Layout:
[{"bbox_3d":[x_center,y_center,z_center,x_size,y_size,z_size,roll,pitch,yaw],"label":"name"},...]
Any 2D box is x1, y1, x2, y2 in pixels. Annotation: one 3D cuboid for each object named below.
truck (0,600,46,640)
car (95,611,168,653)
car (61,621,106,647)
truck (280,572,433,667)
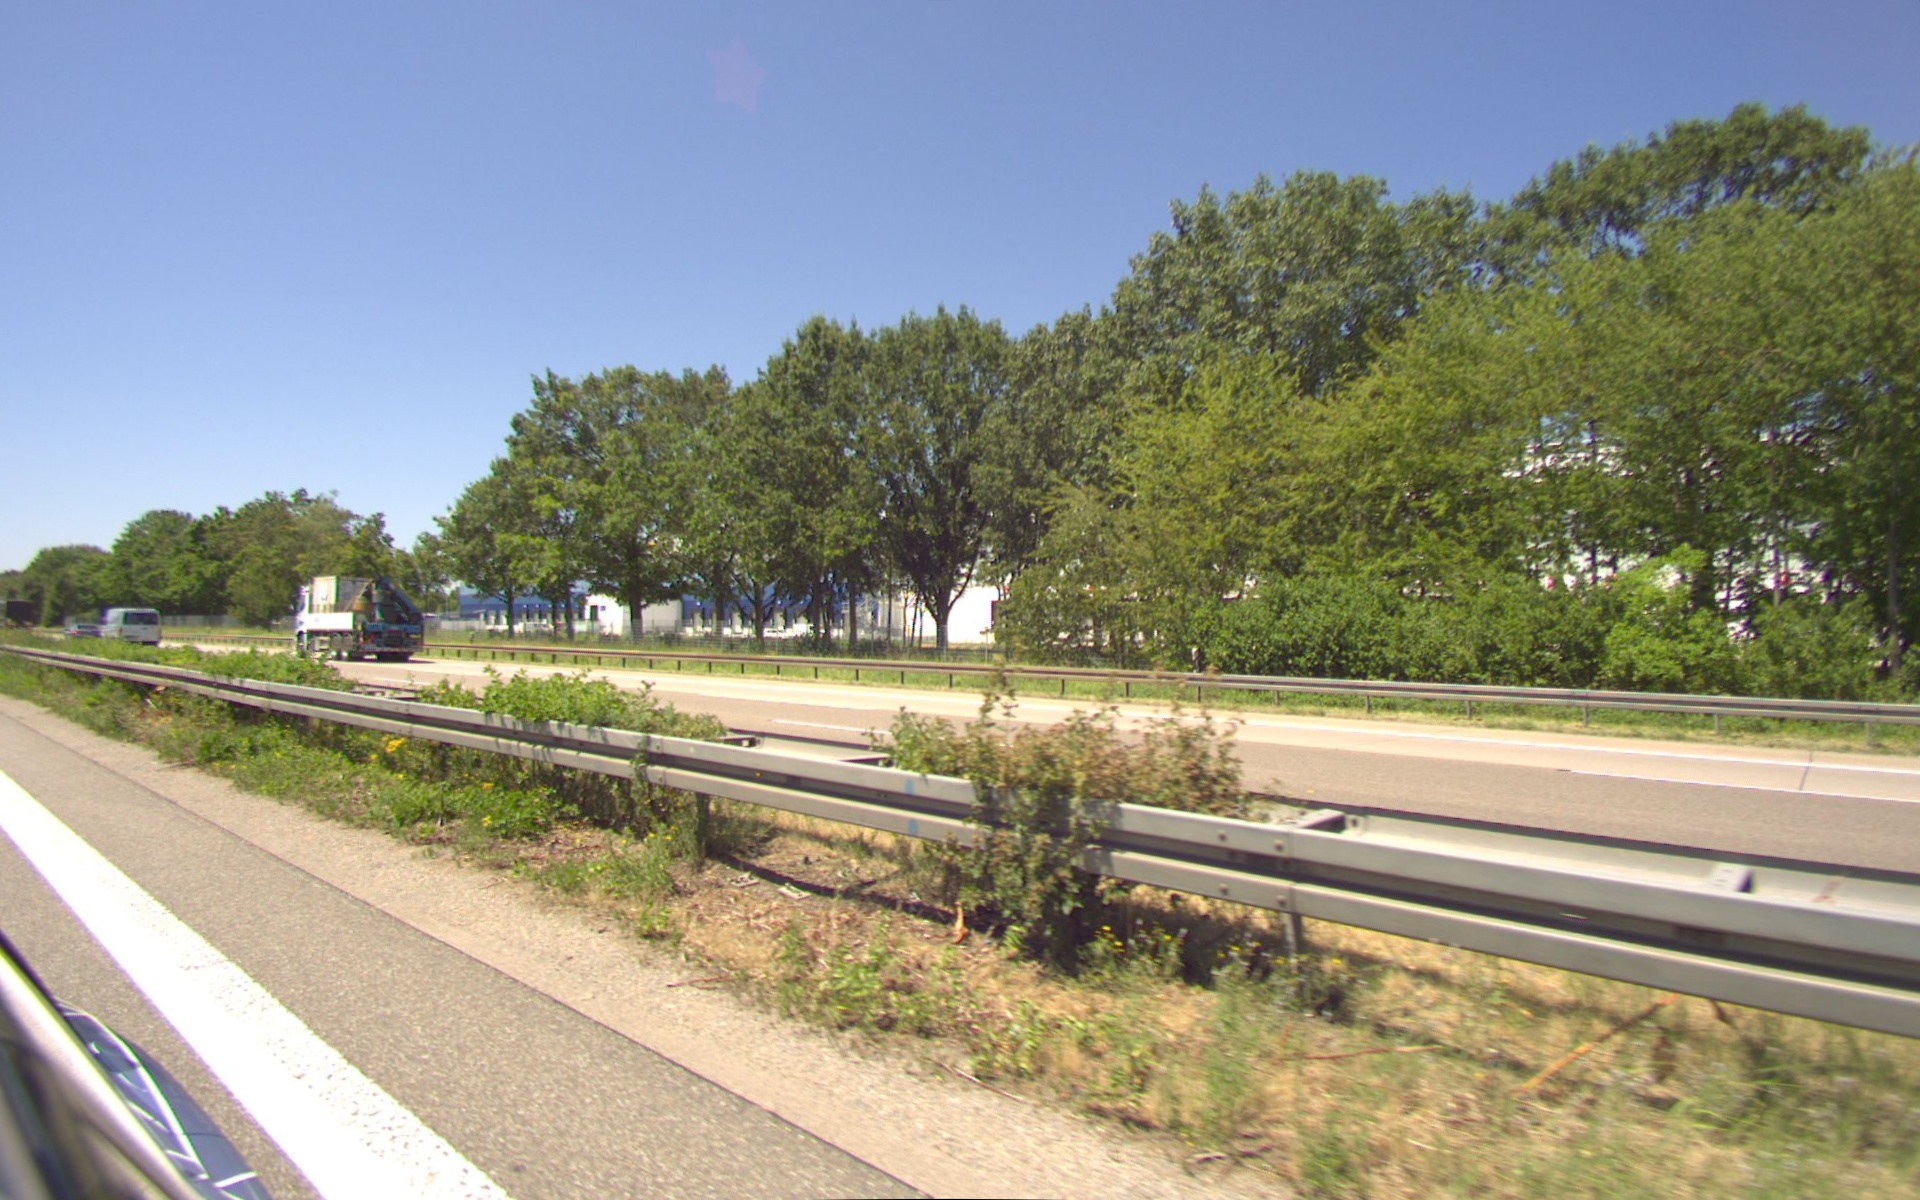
[{"bbox_3d":[-113.638,2.383,121.611,11.976,4.641,4.372,-1,0,42],"label":"truck"},{"bbox_3d":[-47.560,1.837,58.046,5.602,2.305,2.287,-1,-4,42],"label":"car"},{"bbox_3d":[-61.221,2.370,70.671,3.780,1.718,1.891,-2,-5,43],"label":"car"},{"bbox_3d":[-27.140,0.873,45.273,9.596,3.820,2.973,-1,-2,41],"label":"truck"}]
